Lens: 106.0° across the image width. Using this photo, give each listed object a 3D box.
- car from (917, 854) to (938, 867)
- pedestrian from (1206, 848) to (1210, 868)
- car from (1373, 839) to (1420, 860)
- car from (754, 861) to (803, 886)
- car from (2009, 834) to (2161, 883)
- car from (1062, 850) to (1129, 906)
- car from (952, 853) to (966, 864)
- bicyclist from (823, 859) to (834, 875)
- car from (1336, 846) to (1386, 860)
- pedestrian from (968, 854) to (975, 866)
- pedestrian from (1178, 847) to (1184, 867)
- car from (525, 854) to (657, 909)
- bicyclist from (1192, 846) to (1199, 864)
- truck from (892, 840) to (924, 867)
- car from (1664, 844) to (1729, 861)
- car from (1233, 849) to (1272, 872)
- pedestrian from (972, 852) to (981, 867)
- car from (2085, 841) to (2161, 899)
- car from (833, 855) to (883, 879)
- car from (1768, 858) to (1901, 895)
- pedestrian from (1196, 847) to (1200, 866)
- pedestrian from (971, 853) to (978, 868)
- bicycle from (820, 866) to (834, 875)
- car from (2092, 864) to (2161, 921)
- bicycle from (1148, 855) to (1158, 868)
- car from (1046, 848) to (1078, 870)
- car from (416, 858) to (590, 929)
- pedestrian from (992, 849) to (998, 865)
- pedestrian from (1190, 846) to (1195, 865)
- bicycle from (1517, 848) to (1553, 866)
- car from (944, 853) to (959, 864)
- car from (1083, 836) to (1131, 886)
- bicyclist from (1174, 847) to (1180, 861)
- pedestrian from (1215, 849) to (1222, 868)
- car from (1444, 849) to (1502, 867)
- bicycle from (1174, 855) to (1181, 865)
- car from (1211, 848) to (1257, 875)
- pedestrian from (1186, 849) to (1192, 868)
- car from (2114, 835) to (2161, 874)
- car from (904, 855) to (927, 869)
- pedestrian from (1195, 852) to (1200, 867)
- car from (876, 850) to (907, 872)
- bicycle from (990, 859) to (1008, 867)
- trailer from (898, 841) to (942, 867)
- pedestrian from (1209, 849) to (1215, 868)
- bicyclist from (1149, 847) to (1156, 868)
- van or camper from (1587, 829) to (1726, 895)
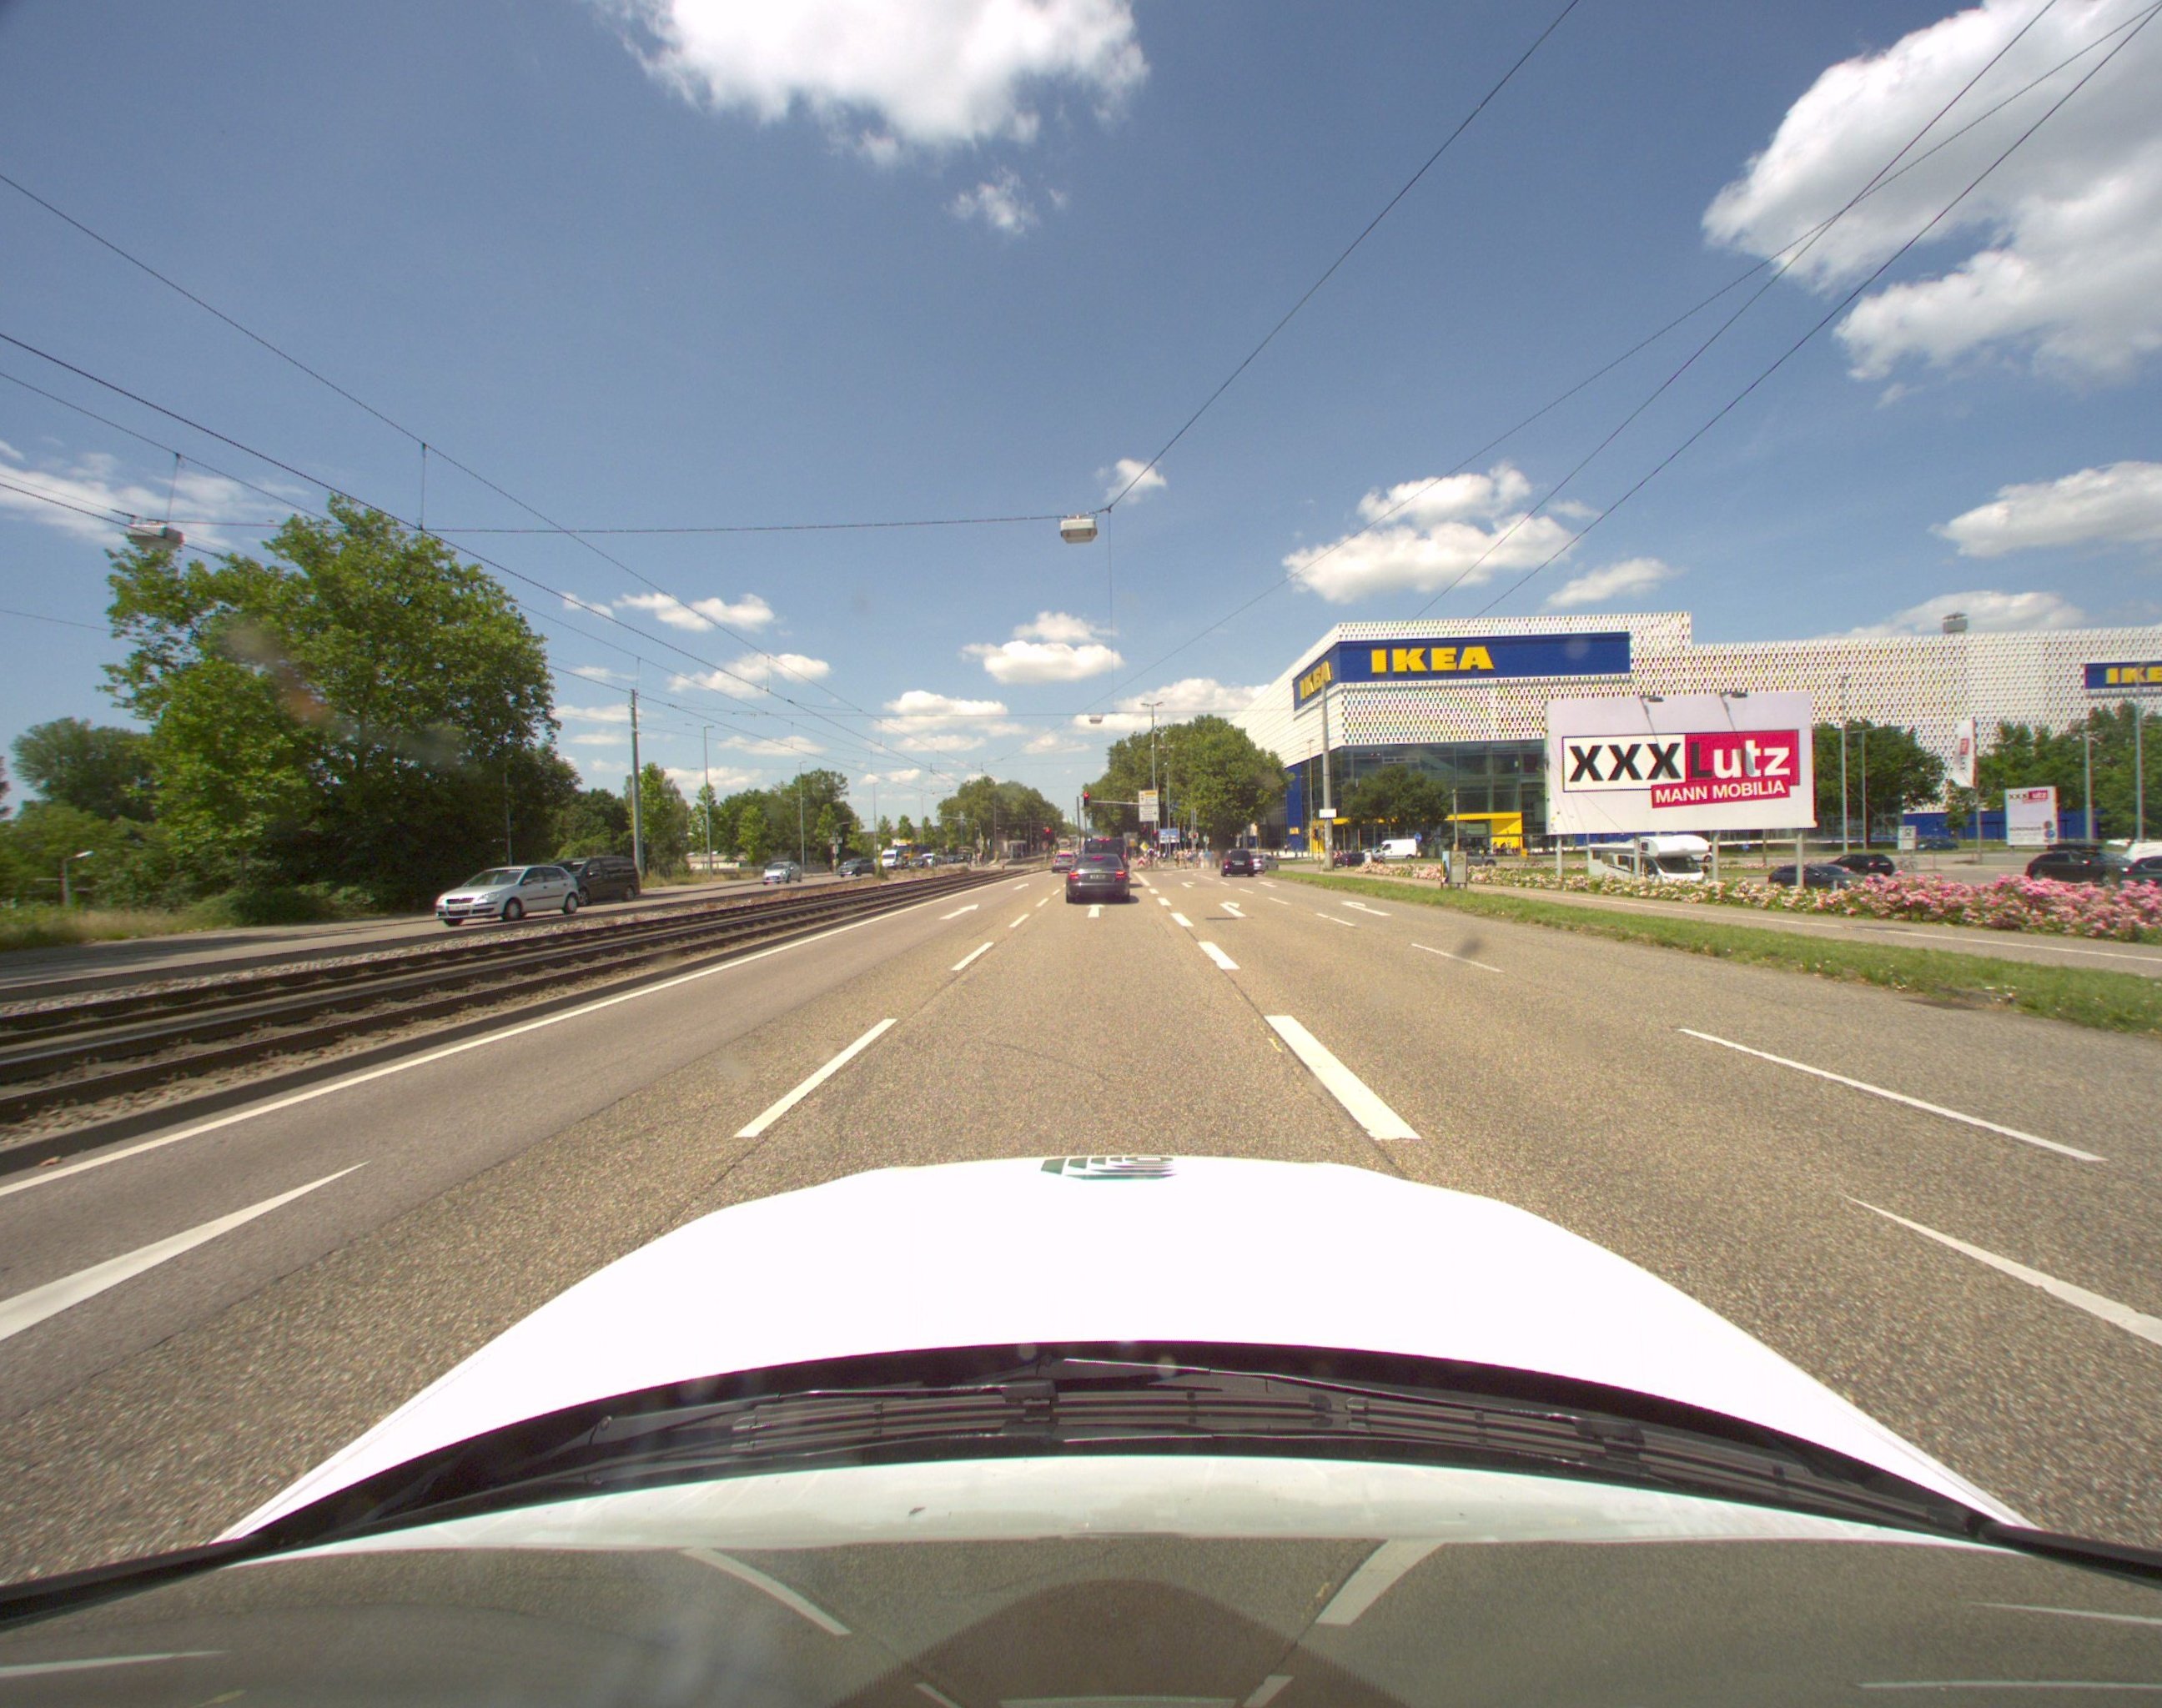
[{"bbox_3d":[-20.537,0.850,109.154,1.814,1.670,4.465,0,0,3],"label":"car"},{"bbox_3d":[10.805,0.331,69.484,0.319,1.635,0.377,-1,0,5],"label":"pedestrian"},{"bbox_3d":[35.004,-0.493,90.486,4.724,2.309,2.008,-1,0,15],"label":"car"},{"bbox_3d":[-19.995,1.250,53.974,1.818,1.416,3.881,-4,0,-2],"label":"car"},{"bbox_3d":[47.886,0.178,38.689,1.986,2.134,5.003,0,0,2],"label":"car"},{"bbox_3d":[0.481,0.646,24.439,1.786,1.455,4.002,-2,0,2],"label":"car"},{"bbox_3d":[-21.860,0.755,146.264,1.811,1.883,4.002,-1,0,2],"label":"car"},{"bbox_3d":[-29.067,1.461,93.671,1.116,1.774,0.340,-1,0,-3],"label":"bicyclist"},{"bbox_3d":[28.849,-0.113,84.030,4.475,1.486,2.003,0,0,5],"label":"car"},{"bbox_3d":[-12.690,0.700,94.094,0.683,1.443,0.572,-1,0,-2],"label":"pedestrian"},{"bbox_3d":[8.555,0.253,69.672,0.551,1.635,0.433,-1,0,4],"label":"pedestrian"},{"bbox_3d":[-18.926,0.992,31.775,1.987,1.830,4.969,-3,0,0],"label":"car"},{"bbox_3d":[11.502,0.121,81.704,0.525,1.764,0.831,-1,0,15],"label":"bicyclist"},{"bbox_3d":[-23.565,-0.052,110.993,2.757,3.569,6.442,-1,0,2],"label":"truck"},{"bbox_3d":[56.417,-0.174,74.766,4.345,1.486,2.007,1,0,13],"label":"car"},{"bbox_3d":[11.869,0.430,56.141,1.977,1.486,4.188,1,1,21],"label":"car"},{"bbox_3d":[-12.463,0.639,97.039,0.816,1.720,0.779,-1,0,24],"label":"pedestrian"},{"bbox_3d":[39.838,0.570,29.032,1.986,2.013,5.003,-3,0,2],"label":"car"},{"bbox_3d":[-19.596,1.115,71.752,1.977,1.918,4.433,1,1,21],"label":"car"},{"bbox_3d":[35.526,1.014,38.605,1.986,1.537,4.772,-2,0,2],"label":"car"},{"bbox_3d":[10.298,0.230,71.696,0.337,1.635,0.377,-1,0,5],"label":"pedestrian"},{"bbox_3d":[-12.212,0.730,93.268,0.683,1.637,0.572,-1,0,-2],"label":"pedestrian"},{"bbox_3d":[-29.240,1.853,93.663,1.487,0.987,0.485,-1,0,-2],"label":"bicycle"},{"bbox_3d":[32.505,1.147,23.229,1.986,1.496,4.305,-4,0,2],"label":"car"},{"bbox_3d":[6.216,0.639,70.228,0.685,0.993,2.753,-1,0,2],"label":"bicycle"},{"bbox_3d":[-1.309,0.331,57.378,1.986,1.486,4.002,0,1,2],"label":"car"},{"bbox_3d":[-15.356,0.969,21.943,1.680,1.583,4.058,-4,0,0],"label":"car"},{"bbox_3d":[-10.800,0.420,102.257,0.683,2.013,0.572,-1,0,-3],"label":"pedestrian"},{"bbox_3d":[9.791,0.130,71.743,0.379,1.635,0.377,-1,0,4],"label":"pedestrian"},{"bbox_3d":[37.629,0.261,67.570,2.410,1.481,0.990,-1,0,6],"label":"bicycle"},{"bbox_3d":[-22.148,0.758,139.884,1.811,1.883,4.002,-1,0,2],"label":"car"},{"bbox_3d":[1.083,0.275,34.086,1.830,1.950,4.001,-1,0,2],"label":"car"},{"bbox_3d":[8.442,0.000,71.519,0.468,1.193,0.792,-1,0,4],"label":"bicyclist"},{"bbox_3d":[12.088,0.363,71.547,0.518,1.670,0.495,-1,0,4],"label":"pedestrian"},{"bbox_3d":[34.176,0.352,71.084,4.116,1.486,2.001,0,0,2],"label":"car"},{"bbox_3d":[8.477,0.545,71.549,0.547,0.877,1.700,-1,0,5],"label":"bicycle"},{"bbox_3d":[8.632,0.397,46.303,1.986,1.486,4.002,0,1,2],"label":"car"},{"bbox_3d":[9.209,0.351,69.625,0.443,1.635,0.430,-1,0,4],"label":"pedestrian"},{"bbox_3d":[52.787,0.021,38.373,1.986,1.852,5.003,0,0,2],"label":"car"},{"bbox_3d":[-20.645,0.977,101.784,1.815,1.670,4.463,0,0,2],"label":"car"},{"bbox_3d":[9.961,0.462,69.634,0.371,1.303,0.365,-1,0,4],"label":"pedestrian"},{"bbox_3d":[-23.714,0.835,102.077,2.235,2.588,6.236,-4,1,1],"label":"car"},{"bbox_3d":[-9.471,1.018,93.701,2.055,0.925,0.751,-1,0,-8],"label":"bicycle"},{"bbox_3d":[-23.327,-0.080,118.841,2.757,3.518,15.884,-1,0,2],"label":"trailer"},{"bbox_3d":[11.519,0.400,71.748,0.501,1.635,0.449,-1,0,4],"label":"pedestrian"},{"bbox_3d":[6.135,0.261,70.028,0.526,1.789,1.089,-1,0,2],"label":"bicyclist"},{"bbox_3d":[28.714,0.349,41.091,2.494,3.020,7.235,0,0,6],"label":"van or camper"}]
